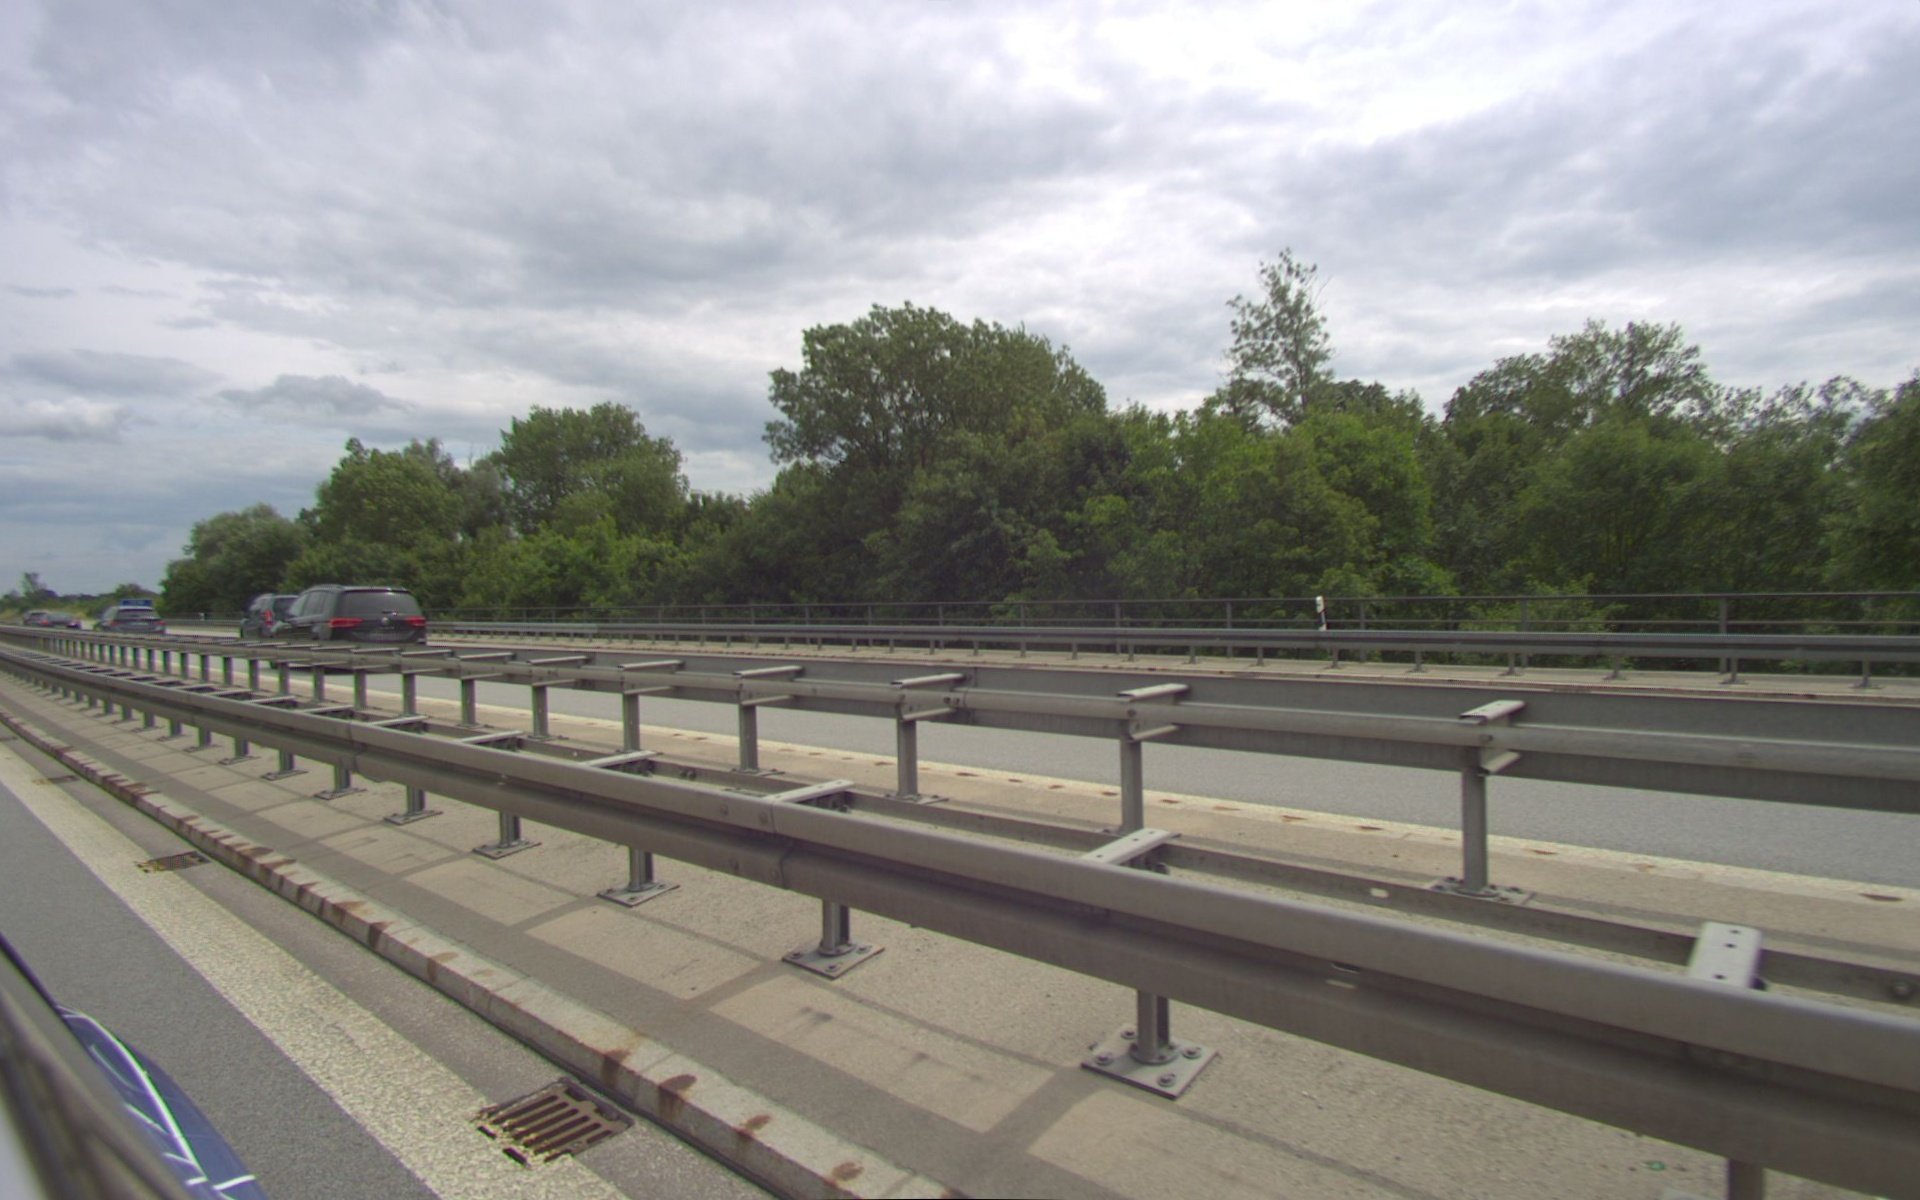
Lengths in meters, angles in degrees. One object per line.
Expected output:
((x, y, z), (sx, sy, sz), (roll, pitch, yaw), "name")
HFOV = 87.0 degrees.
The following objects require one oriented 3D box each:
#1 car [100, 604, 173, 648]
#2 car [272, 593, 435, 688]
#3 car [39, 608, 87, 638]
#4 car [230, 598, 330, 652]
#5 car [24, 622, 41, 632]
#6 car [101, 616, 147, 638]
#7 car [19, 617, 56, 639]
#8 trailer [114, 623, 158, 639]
((-30.646, 0.958, 37.622), (4.001, 1.561, 1.625), (-1, -1, 44), "car")
((-11.657, 0.725, 19.343), (4.000, 1.617, 1.626), (-1, 0, 43), "car")
((-48.398, 1.254, 54.565), (4.001, 1.561, 1.625), (-1, -1, 44), "car")
((-24.059, 0.866, 35.775), (4.224, 1.758, 1.972), (-1, 0, 42), "car")
((-136.728, 3.991, 149.145), (4.360, 1.386, 1.666), (-1, 0, 45), "car")
((-56.846, 1.822, 68.785), (4.942, 1.420, 1.719), (-1, 0, 43), "car")
((-64.690, 1.955, 70.967), (4.112, 1.447, 1.672), (-1, 0, 44), "car")
((-53.543, 1.969, 65.726), (4.000, 0.959, 1.650), (-1, 0, 43), "trailer")
